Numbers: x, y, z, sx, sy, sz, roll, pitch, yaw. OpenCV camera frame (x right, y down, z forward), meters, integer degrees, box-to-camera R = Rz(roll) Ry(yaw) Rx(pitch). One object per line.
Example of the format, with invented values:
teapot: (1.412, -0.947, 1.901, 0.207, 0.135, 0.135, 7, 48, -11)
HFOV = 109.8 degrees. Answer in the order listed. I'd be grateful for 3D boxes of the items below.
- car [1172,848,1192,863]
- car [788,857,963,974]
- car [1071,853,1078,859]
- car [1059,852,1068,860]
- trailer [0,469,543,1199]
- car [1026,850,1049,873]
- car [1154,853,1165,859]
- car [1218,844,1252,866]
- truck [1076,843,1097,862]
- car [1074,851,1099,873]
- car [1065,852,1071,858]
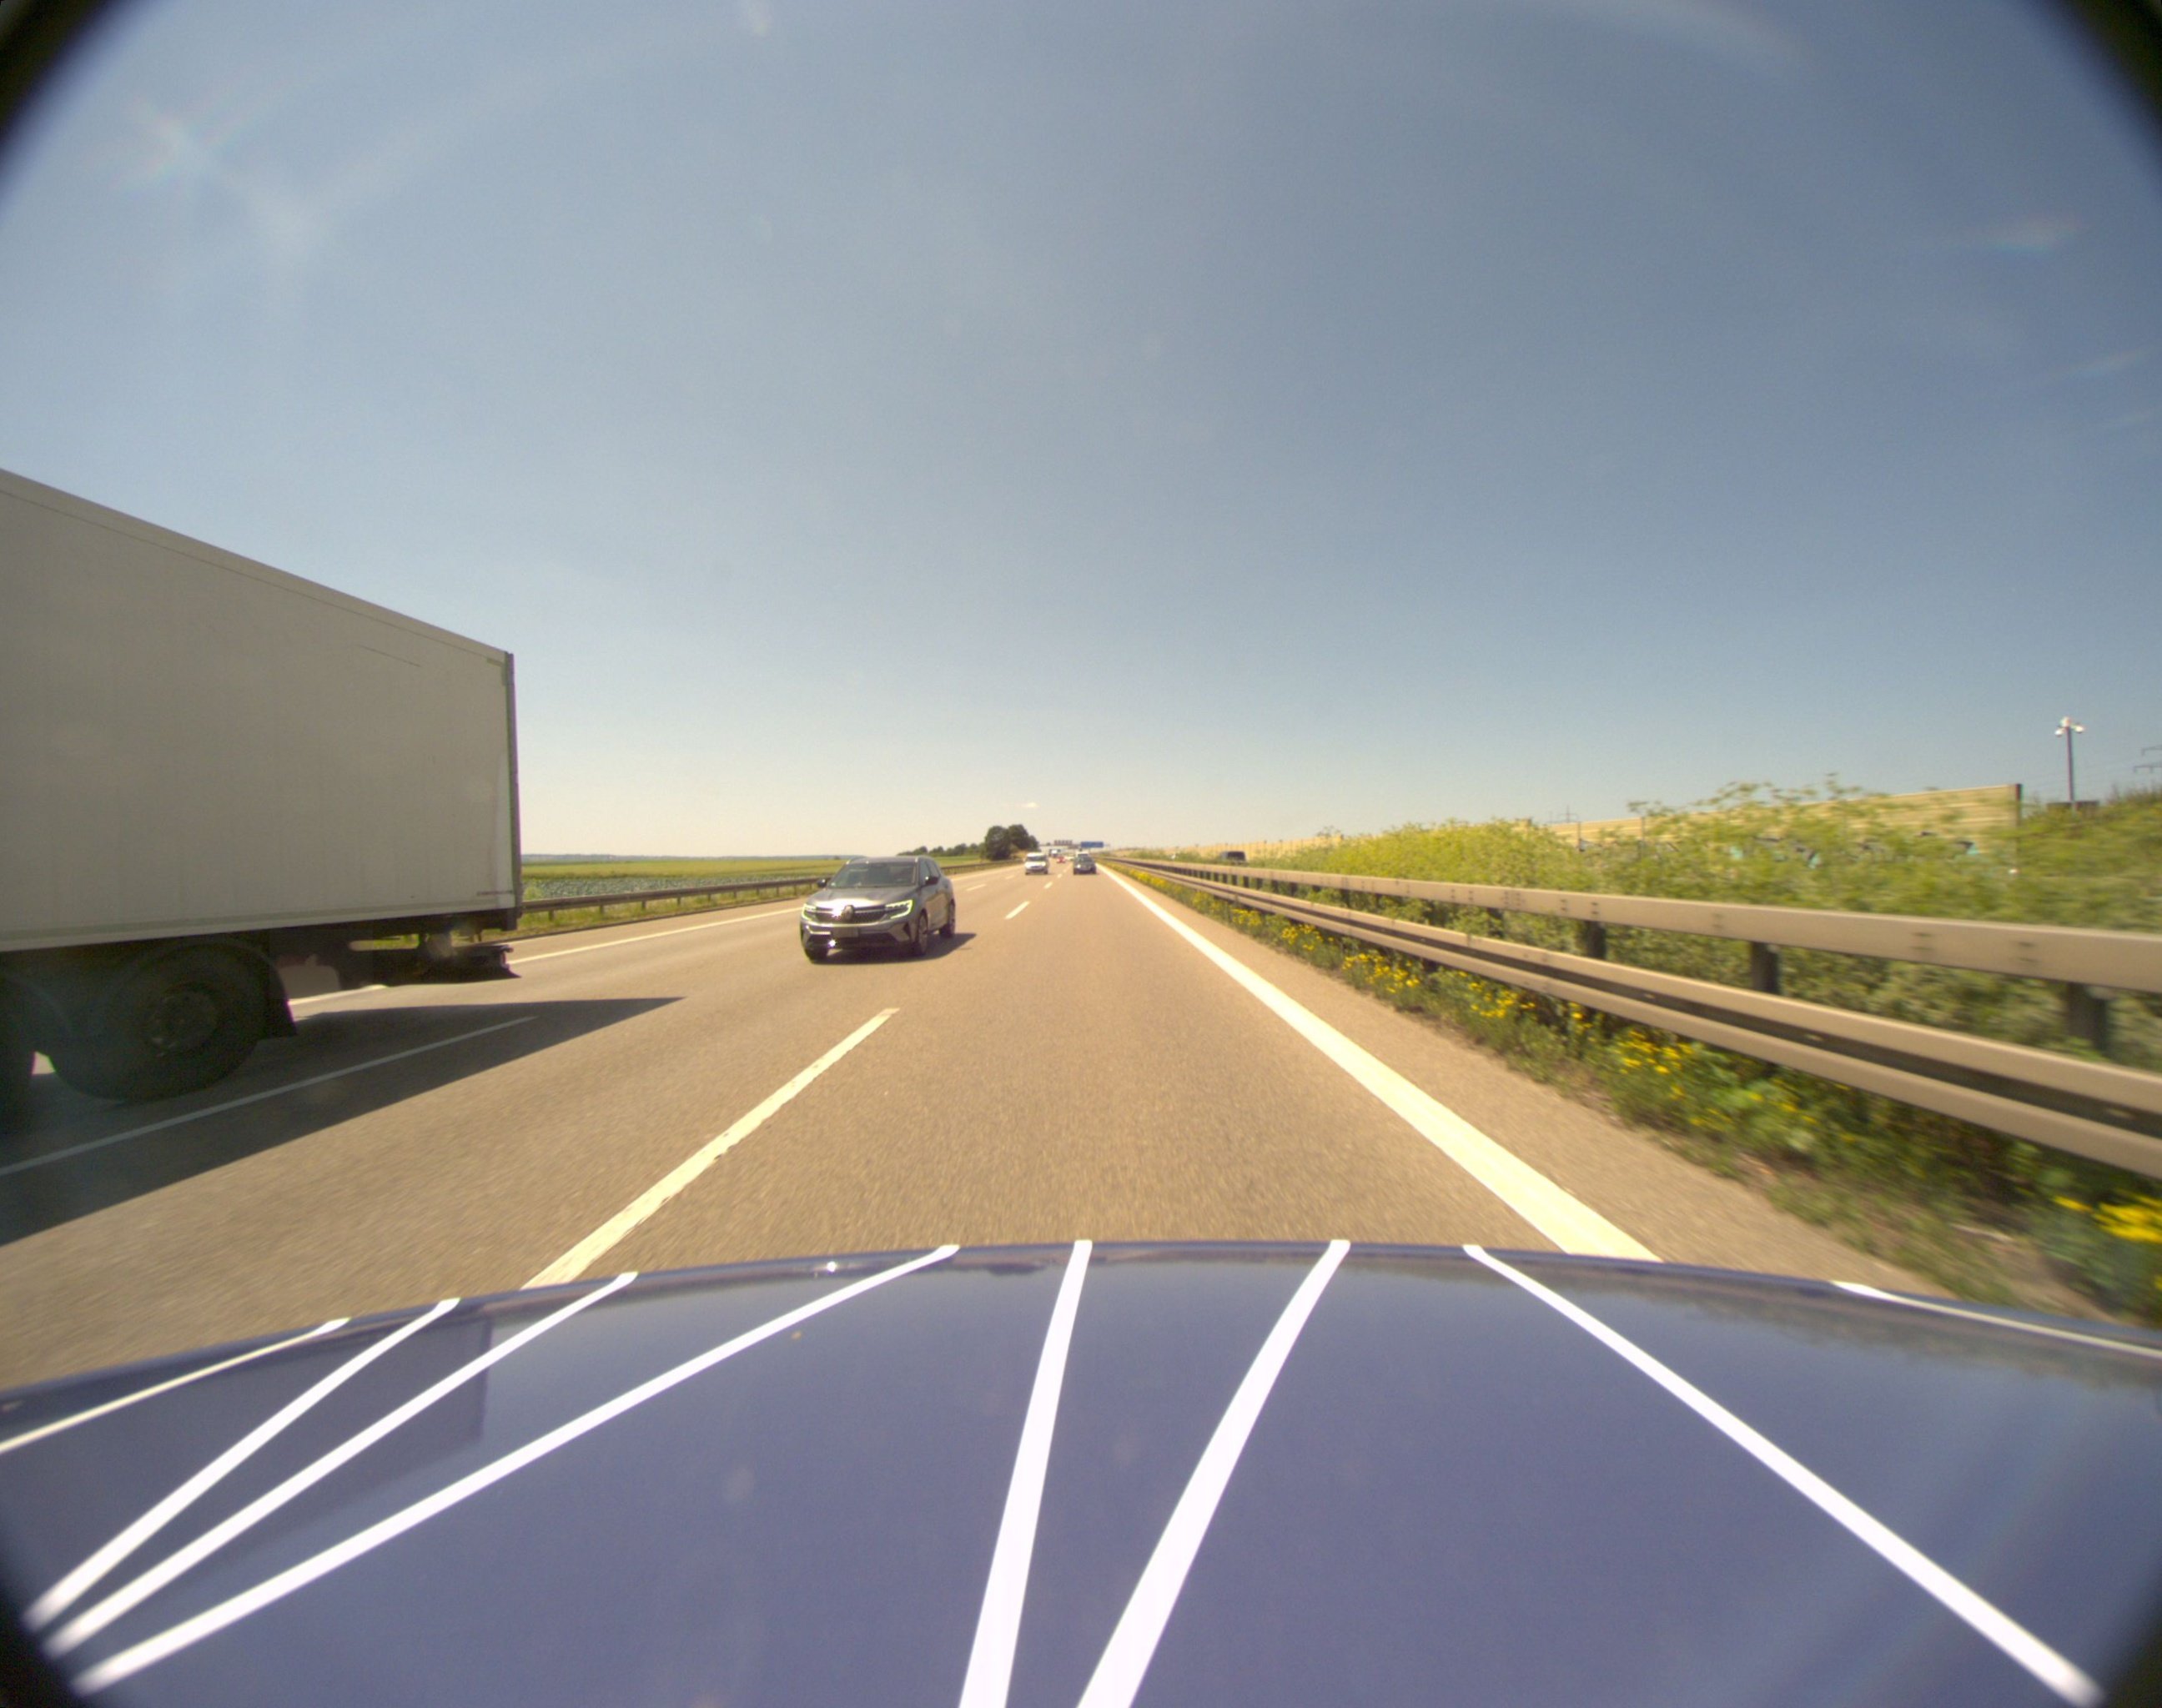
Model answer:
car: (14.172, 0.120, 106.752, 1.998, 1.950, 5.913, -2, 1, 0)
car: (-3.365, 0.905, 13.445, 1.856, 1.639, 4.644, -1, 1, 0)
car: (-1.601, 0.525, 186.231, 1.724, 1.514, 3.581, -2, 1, -2)
car: (-3.443, 0.386, 149.879, 1.723, 1.514, 3.581, -2, 1, 1)
trailer: (-7.654, -0.063, 1.926, 2.875, 4.195, 13.292, -2, 1, 0)
car: (-3.650, 0.608, 64.371, 1.812, 1.836, 5.311, -2, 0, -2)
car: (17.658, 0.414, 170.656, 1.998, 1.412, 3.999, -2, 0, 0)
car: (14.585, 0.075, 72.150, 1.998, 1.929, 5.854, 2, 1, 0)
truck: (0.702, -0.242, 100.371, 2.334, 2.378, 6.685, -2, 1, -2)
car: (0.417, 0.598, 60.374, 1.715, 1.586, 4.546, -4, 0, -2)
car: (-3.633, 0.250, 214.463, 1.724, 1.514, 3.581, -2, 1, -2)
